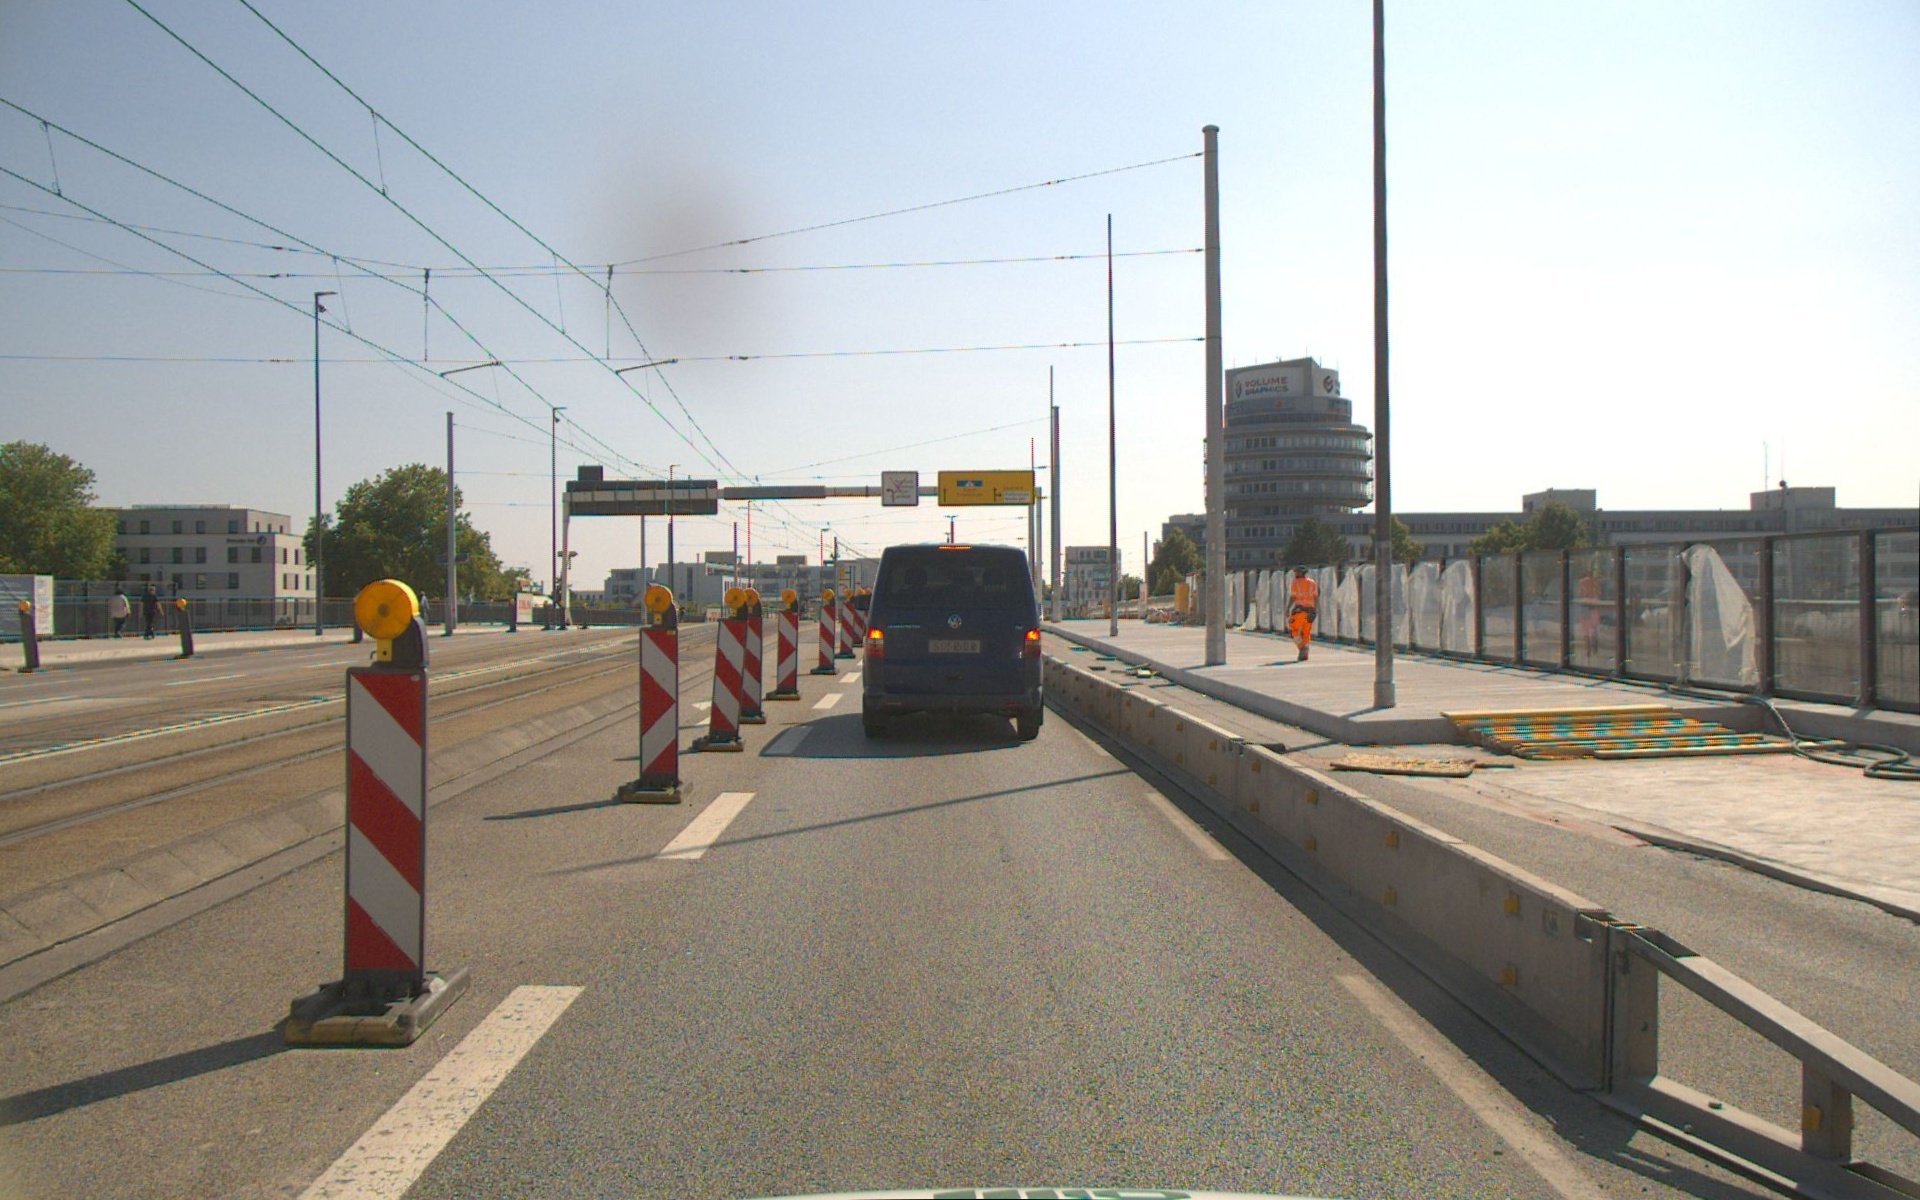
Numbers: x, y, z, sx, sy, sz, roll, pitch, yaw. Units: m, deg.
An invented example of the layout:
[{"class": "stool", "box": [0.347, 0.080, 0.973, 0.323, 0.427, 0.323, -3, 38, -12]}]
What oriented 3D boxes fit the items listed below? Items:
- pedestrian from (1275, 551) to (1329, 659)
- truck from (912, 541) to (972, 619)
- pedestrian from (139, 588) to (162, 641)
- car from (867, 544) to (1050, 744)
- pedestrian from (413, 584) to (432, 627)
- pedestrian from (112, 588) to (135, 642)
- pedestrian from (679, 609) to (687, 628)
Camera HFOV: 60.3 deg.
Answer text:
[{"class": "pedestrian", "box": [6.380, 0.093, 30.896, 0.766, 1.969, 0.799, -2, -1, -1]}, {"class": "truck", "box": [-0.838, -0.942, 73.496, 2.410, 3.189, 11.214, -1, 1, -1]}, {"class": "pedestrian", "box": [-26.114, 0.470, 53.370, 0.485, 1.724, 0.474, 1, -1, -1]}, {"class": "car", "box": [-0.066, 0.393, 18.139, 1.779, 1.939, 4.053, 0, 1, -2]}, {"class": "pedestrian", "box": [-24.445, 0.253, 75.239, 0.621, 1.926, 0.752, 0, 0, -1]}, {"class": "pedestrian", "box": [-26.987, 0.478, 53.378, 0.485, 1.724, 0.474, 1, -1, -1]}, {"class": "pedestrian", "box": [-24.355, 1.631, 145.406, 0.621, 1.626, 0.752, 0, 0, -1]}]
